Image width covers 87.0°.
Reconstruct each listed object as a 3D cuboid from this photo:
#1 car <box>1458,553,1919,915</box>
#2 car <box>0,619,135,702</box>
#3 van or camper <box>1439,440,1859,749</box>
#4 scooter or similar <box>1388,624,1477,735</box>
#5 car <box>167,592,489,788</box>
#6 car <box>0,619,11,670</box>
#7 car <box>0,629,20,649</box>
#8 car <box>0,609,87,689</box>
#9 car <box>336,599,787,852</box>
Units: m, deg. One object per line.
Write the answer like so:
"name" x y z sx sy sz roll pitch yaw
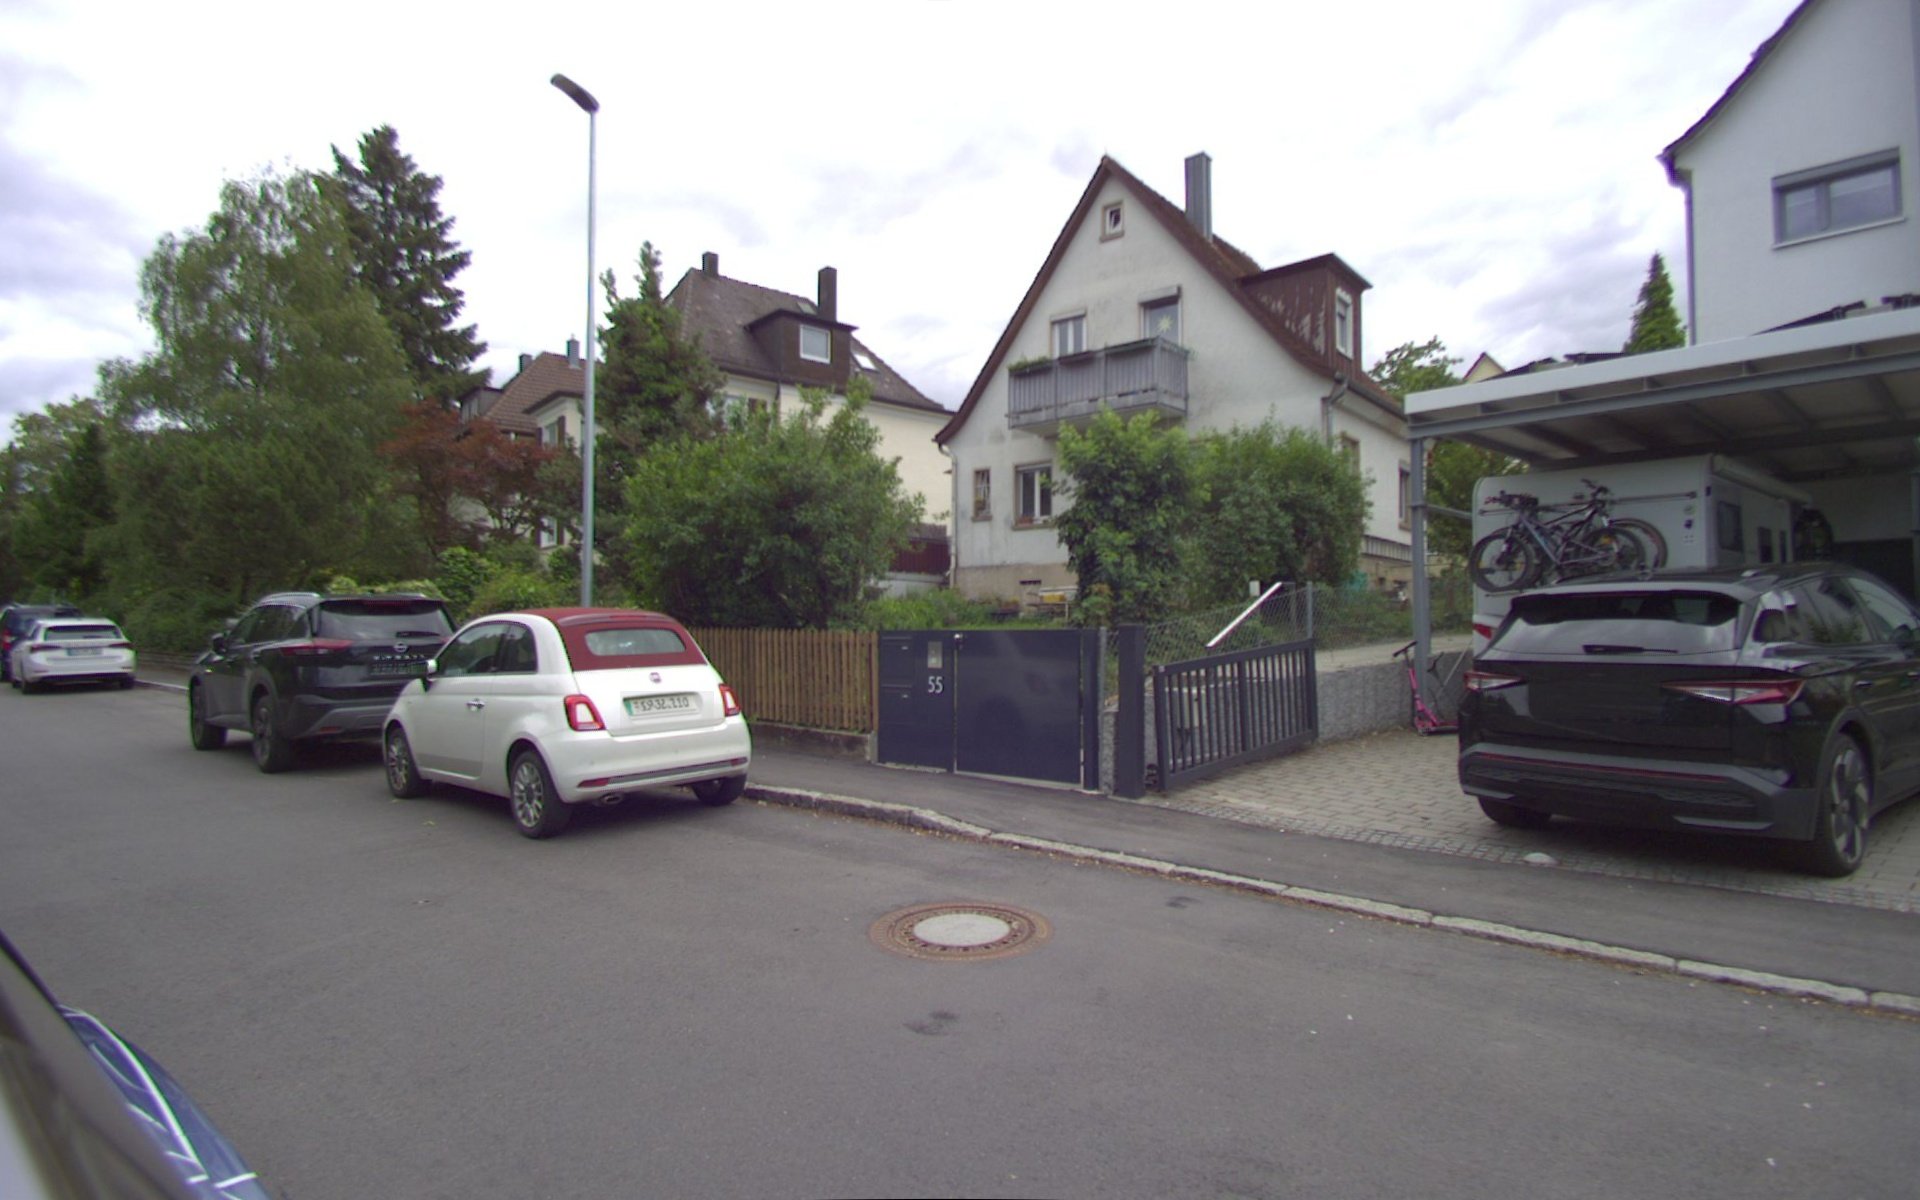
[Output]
"car" 5.044 0.553 6.253 3.934 1.559 1.846 -1 0 -35
"car" -18.639 1.183 21.047 4.554 1.523 1.688 -2 -1 43
"van or camper" 8.283 -0.108 11.784 6.597 2.671 2.327 -2 0 -40
"scooter or similar" 4.821 0.785 10.306 1.150 1.061 0.256 0 -1 -35
"car" -6.887 0.815 10.822 4.390 1.677 1.773 -2 -1 42
"car" -32.881 1.481 33.404 4.727 1.619 1.777 -2 -1 41
"car" -63.422 2.559 65.461 1.640 1.324 3.725 -2 -1 42
"car" -23.024 1.156 24.972 4.296 1.813 1.689 -2 -1 42
"car" -3.306 0.795 8.029 3.943 1.523 1.689 -2 -1 41
